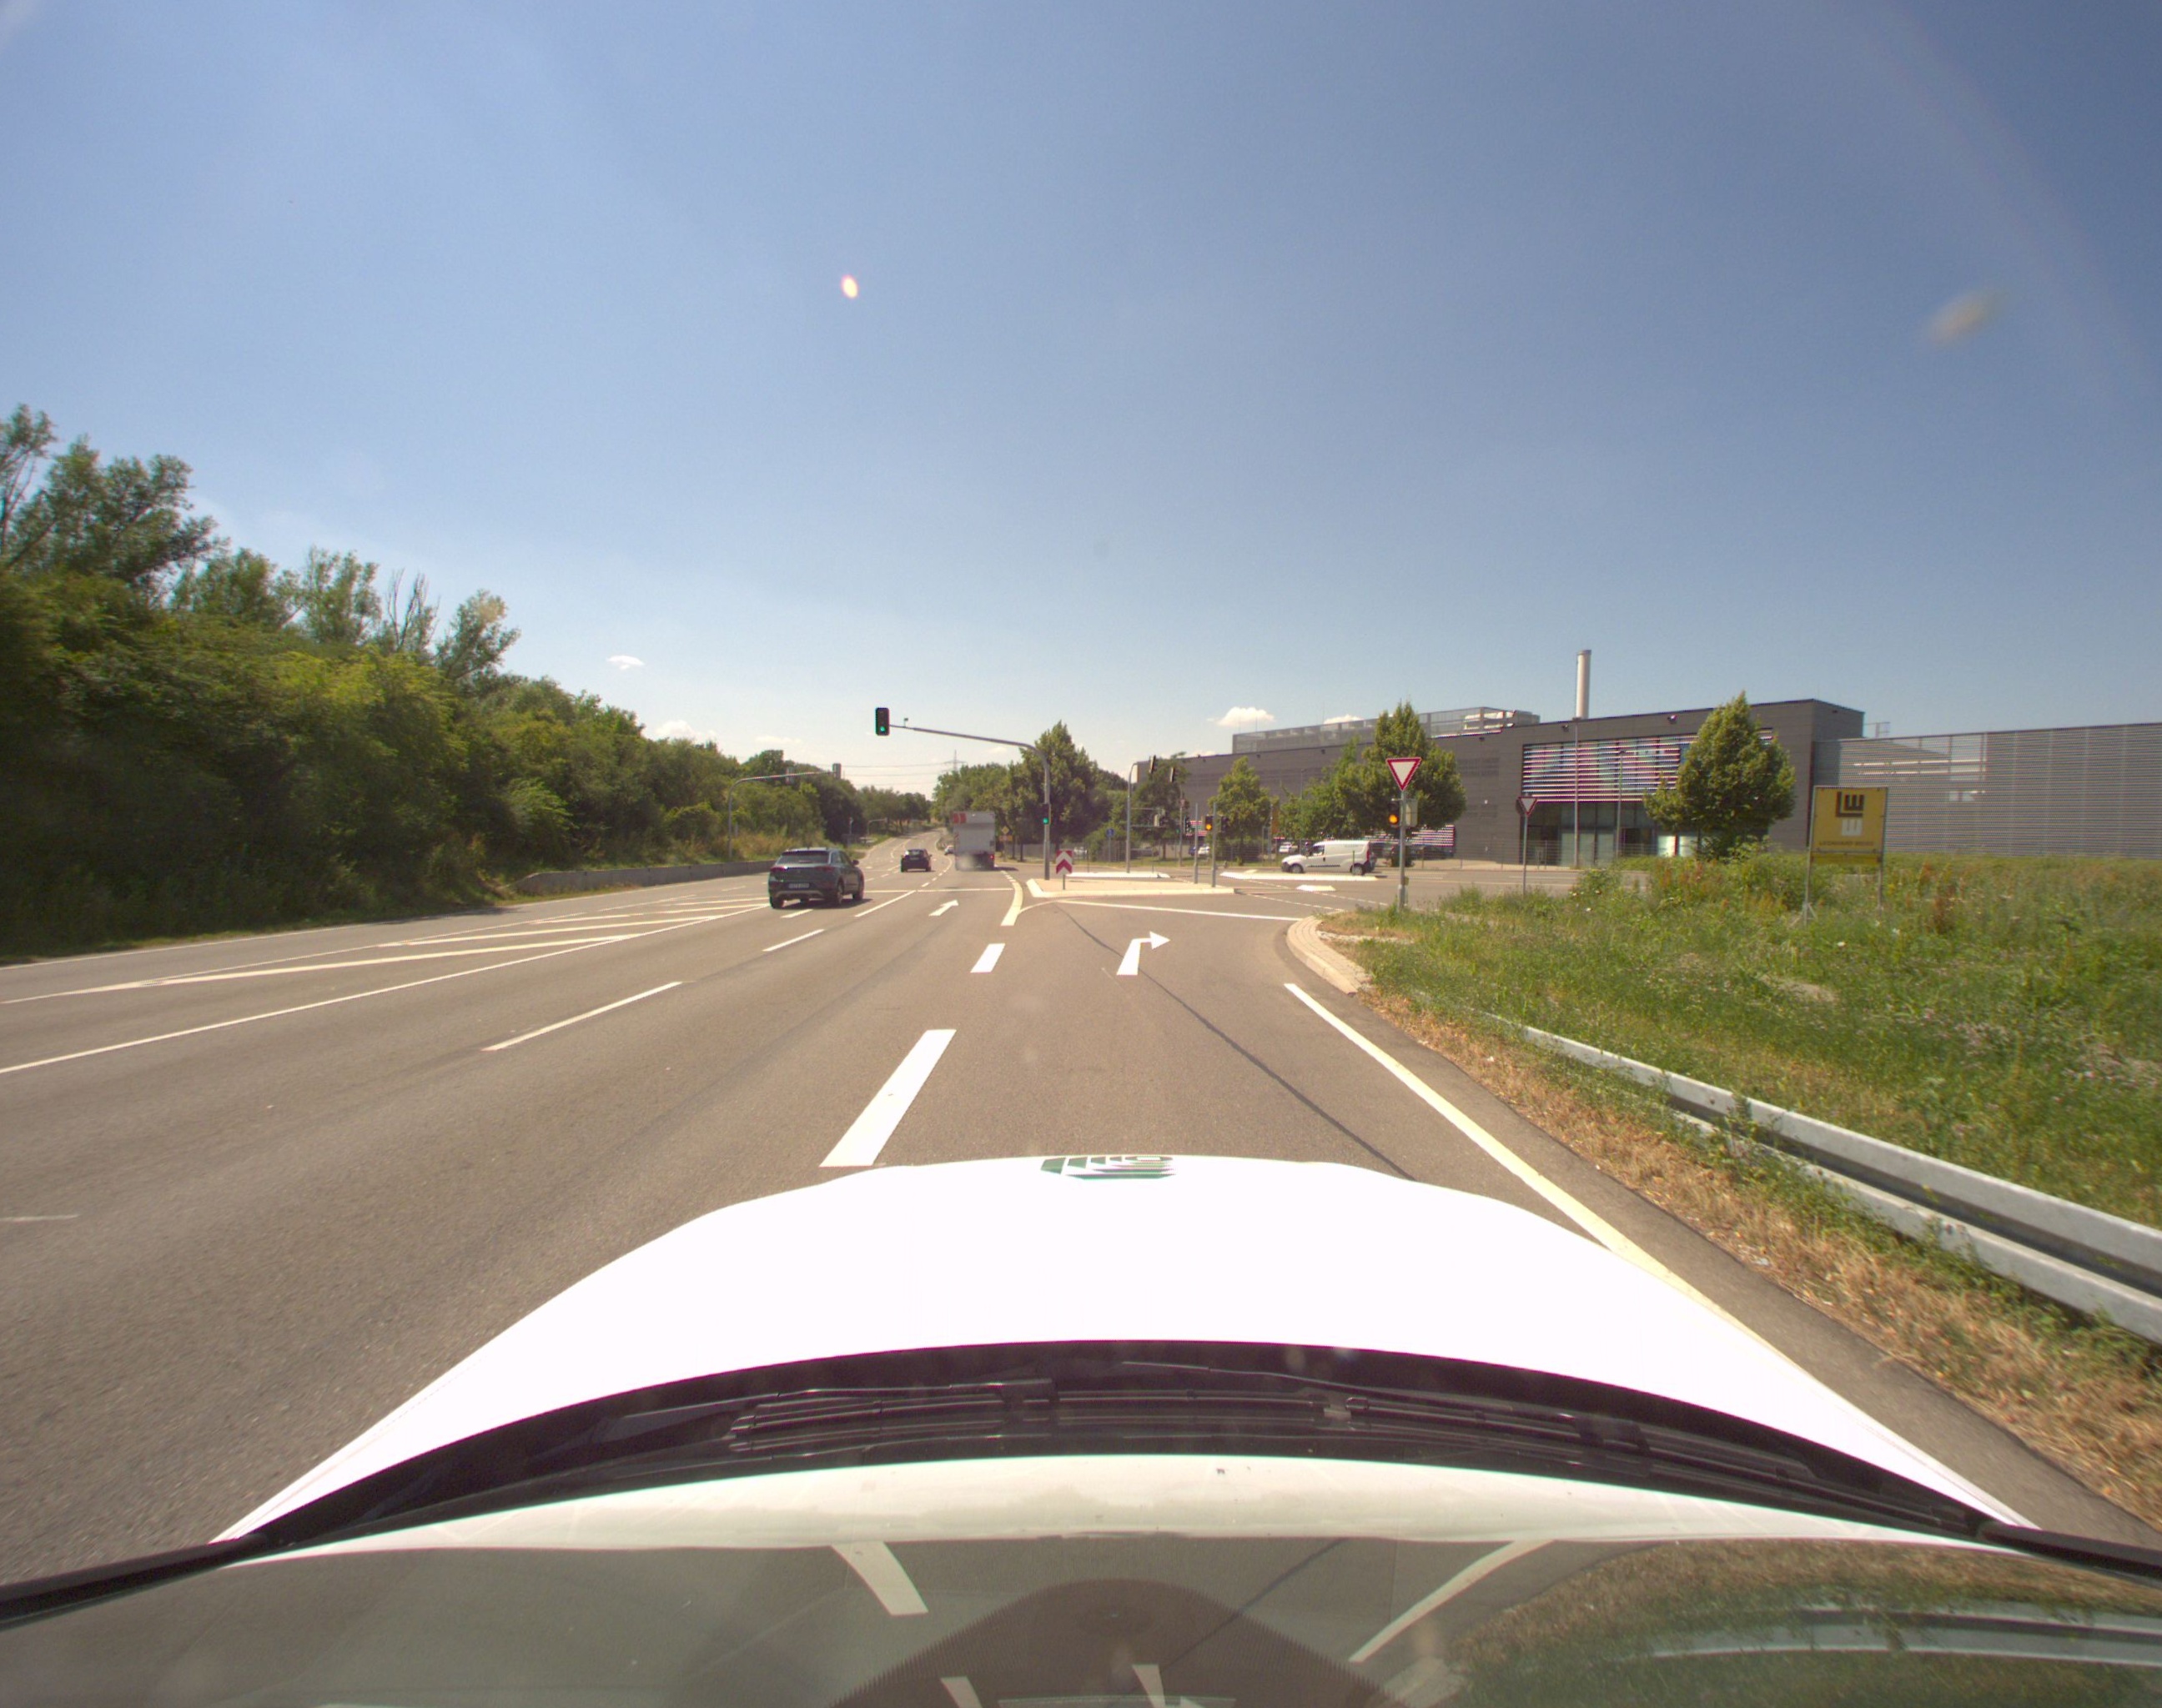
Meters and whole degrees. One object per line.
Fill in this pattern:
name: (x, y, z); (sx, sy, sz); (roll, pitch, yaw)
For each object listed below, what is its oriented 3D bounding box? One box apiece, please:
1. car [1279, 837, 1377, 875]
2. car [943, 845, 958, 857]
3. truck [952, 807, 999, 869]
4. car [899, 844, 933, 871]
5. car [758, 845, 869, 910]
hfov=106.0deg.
car: (12.950, 0.091, 42.658); (4.703, 1.932, 2.165); (0, 0, 23)
car: (-20.566, -0.441, 128.644); (1.946, 1.664, 3.981); (2, 1, -14)
truck: (-6.993, -1.072, 53.251); (2.802, 3.710, 9.081); (0, 1, -9)
car: (-10.270, 0.196, 50.920); (1.651, 1.493, 4.199); (0, 2, -6)
car: (-7.209, 0.568, 22.410); (1.831, 1.586, 4.385); (-1, 1, -4)
